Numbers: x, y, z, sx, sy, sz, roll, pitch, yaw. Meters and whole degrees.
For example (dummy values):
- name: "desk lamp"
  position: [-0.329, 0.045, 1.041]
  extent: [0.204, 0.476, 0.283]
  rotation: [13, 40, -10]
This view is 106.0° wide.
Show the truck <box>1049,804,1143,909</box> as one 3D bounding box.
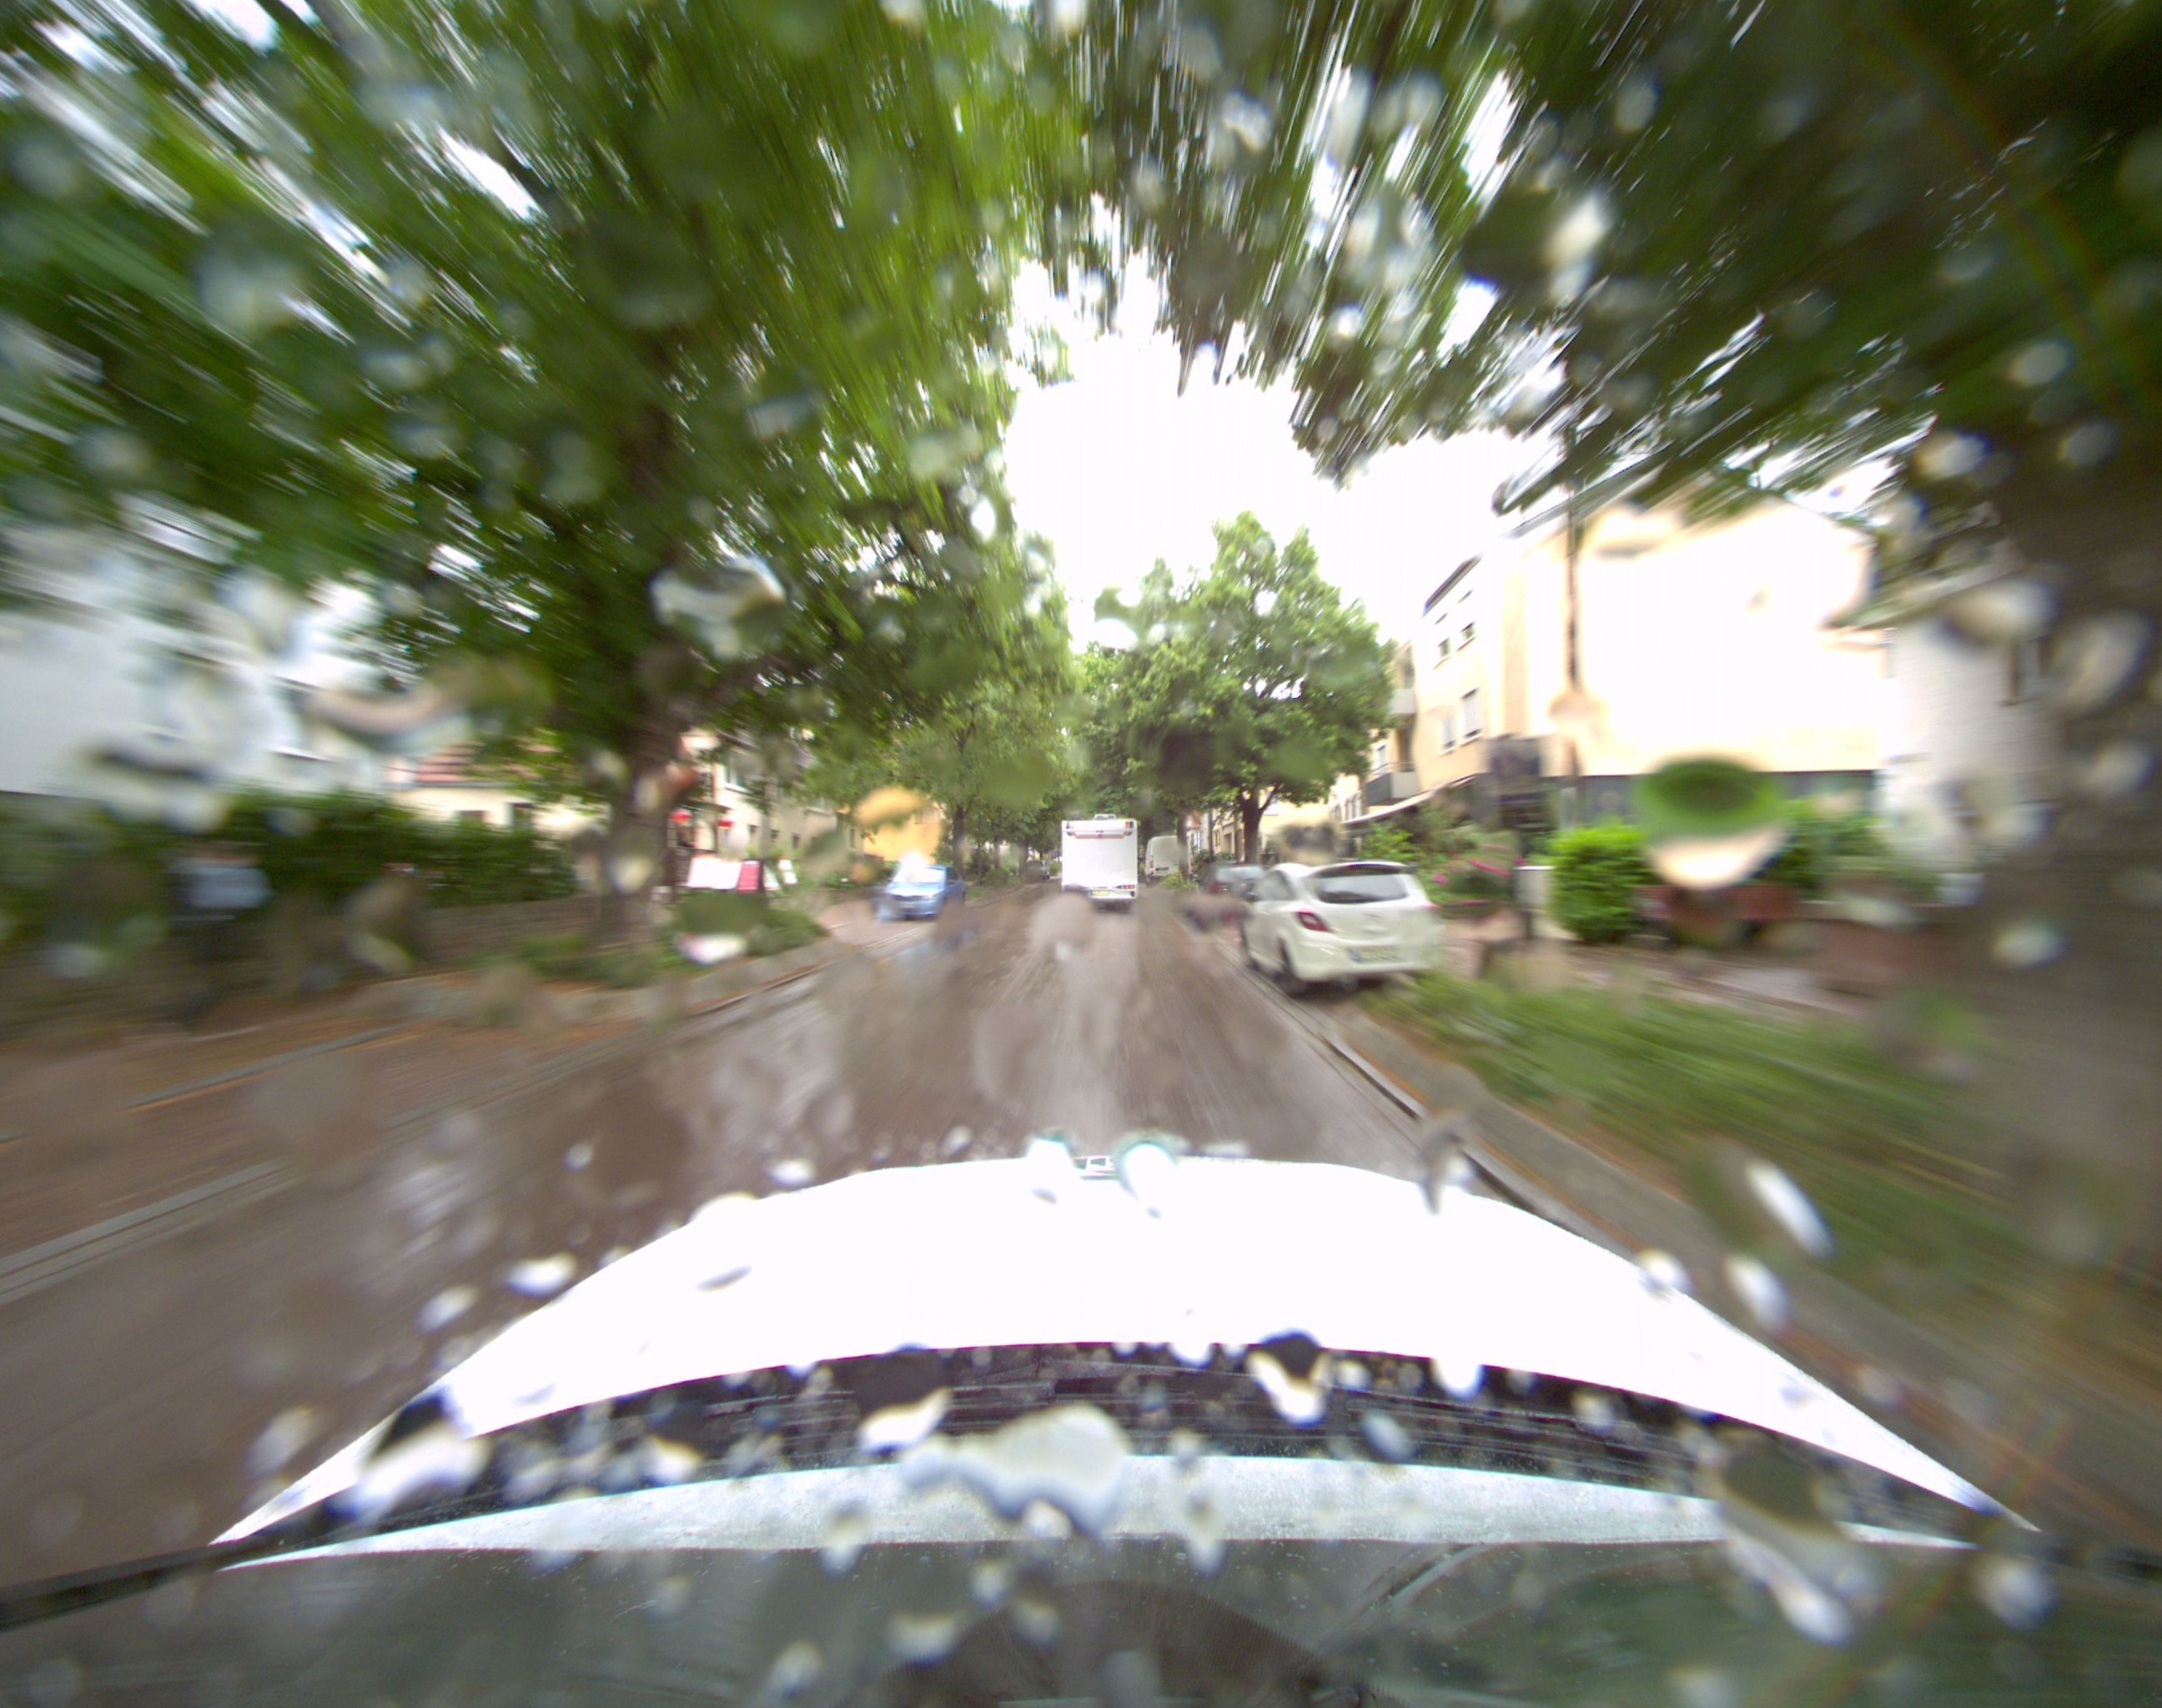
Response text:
- name: "truck"
  position: [0.538, 0.103, 26.524]
  extent: [2.684, 2.986, 6.239]
  rotation: [-1, -1, 2]

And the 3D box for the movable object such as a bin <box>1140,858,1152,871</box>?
- name: "movable object such as a bin"
  position: [6.649, 1.105, 83.713]
  extent: [1.219, 1.315, 1.135]
  rotation: [-2, -1, 4]

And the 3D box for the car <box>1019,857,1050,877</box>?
- name: "car"
  position: [-3.342, 0.919, 59.619]
  extent: [1.765, 1.389, 4.549]
  rotation: [1, 0, 3]

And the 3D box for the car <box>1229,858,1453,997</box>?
- name: "car"
  position: [3.037, 0.781, 10.339]
  extent: [1.674, 1.399, 3.795]
  rotation: [-1, -1, 1]

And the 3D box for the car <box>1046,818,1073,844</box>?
- name: "car"
  position: [-1.818, -1.931, 69.841]
  extent: [1.986, 2.014, 4.002]
  rotation: [-1, -1, 2]

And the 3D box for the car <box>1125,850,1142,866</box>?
- name: "car"
  position: [6.231, 0.429, 97.117]
  extent: [1.907, 1.792, 4.490]
  rotation: [0, 1, 2]

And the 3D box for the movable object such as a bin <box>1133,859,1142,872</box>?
- name: "movable object such as a bin"
  position: [4.623, 0.924, 67.153]
  extent: [0.686, 1.082, 0.540]
  rotation: [0, -1, -2]

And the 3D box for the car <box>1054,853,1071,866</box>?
- name: "car"
  position: [-2.180, 0.694, 97.832]
  extent: [1.640, 1.533, 3.869]
  rotation: [0, 0, 4]

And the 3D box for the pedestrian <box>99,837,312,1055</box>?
- name: "pedestrian"
  position: [-6.868, 0.681, 6.443]
  extent: [0.647, 1.594, 0.932]
  rotation: [-1, -1, 2]

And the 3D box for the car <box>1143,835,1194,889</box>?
- name: "car"
  position: [4.249, 0.381, 40.347]
  extent: [2.133, 2.460, 5.437]
  rotation: [-1, -1, 2]

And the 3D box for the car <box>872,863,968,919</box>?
- name: "car"
  position: [-4.350, 0.963, 22.591]
  extent: [1.742, 1.396, 3.798]
  rotation: [-1, -1, 3]

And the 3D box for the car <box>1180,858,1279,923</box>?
- name: "car"
  position: [3.495, 0.806, 19.798]
  extent: [1.802, 1.411, 3.785]
  rotation: [-1, 0, 2]

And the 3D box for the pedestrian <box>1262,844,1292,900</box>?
- name: "pedestrian"
  position: [6.204, 0.553, 25.762]
  extent: [0.766, 1.731, 0.491]
  rotation: [-1, 0, -10]
